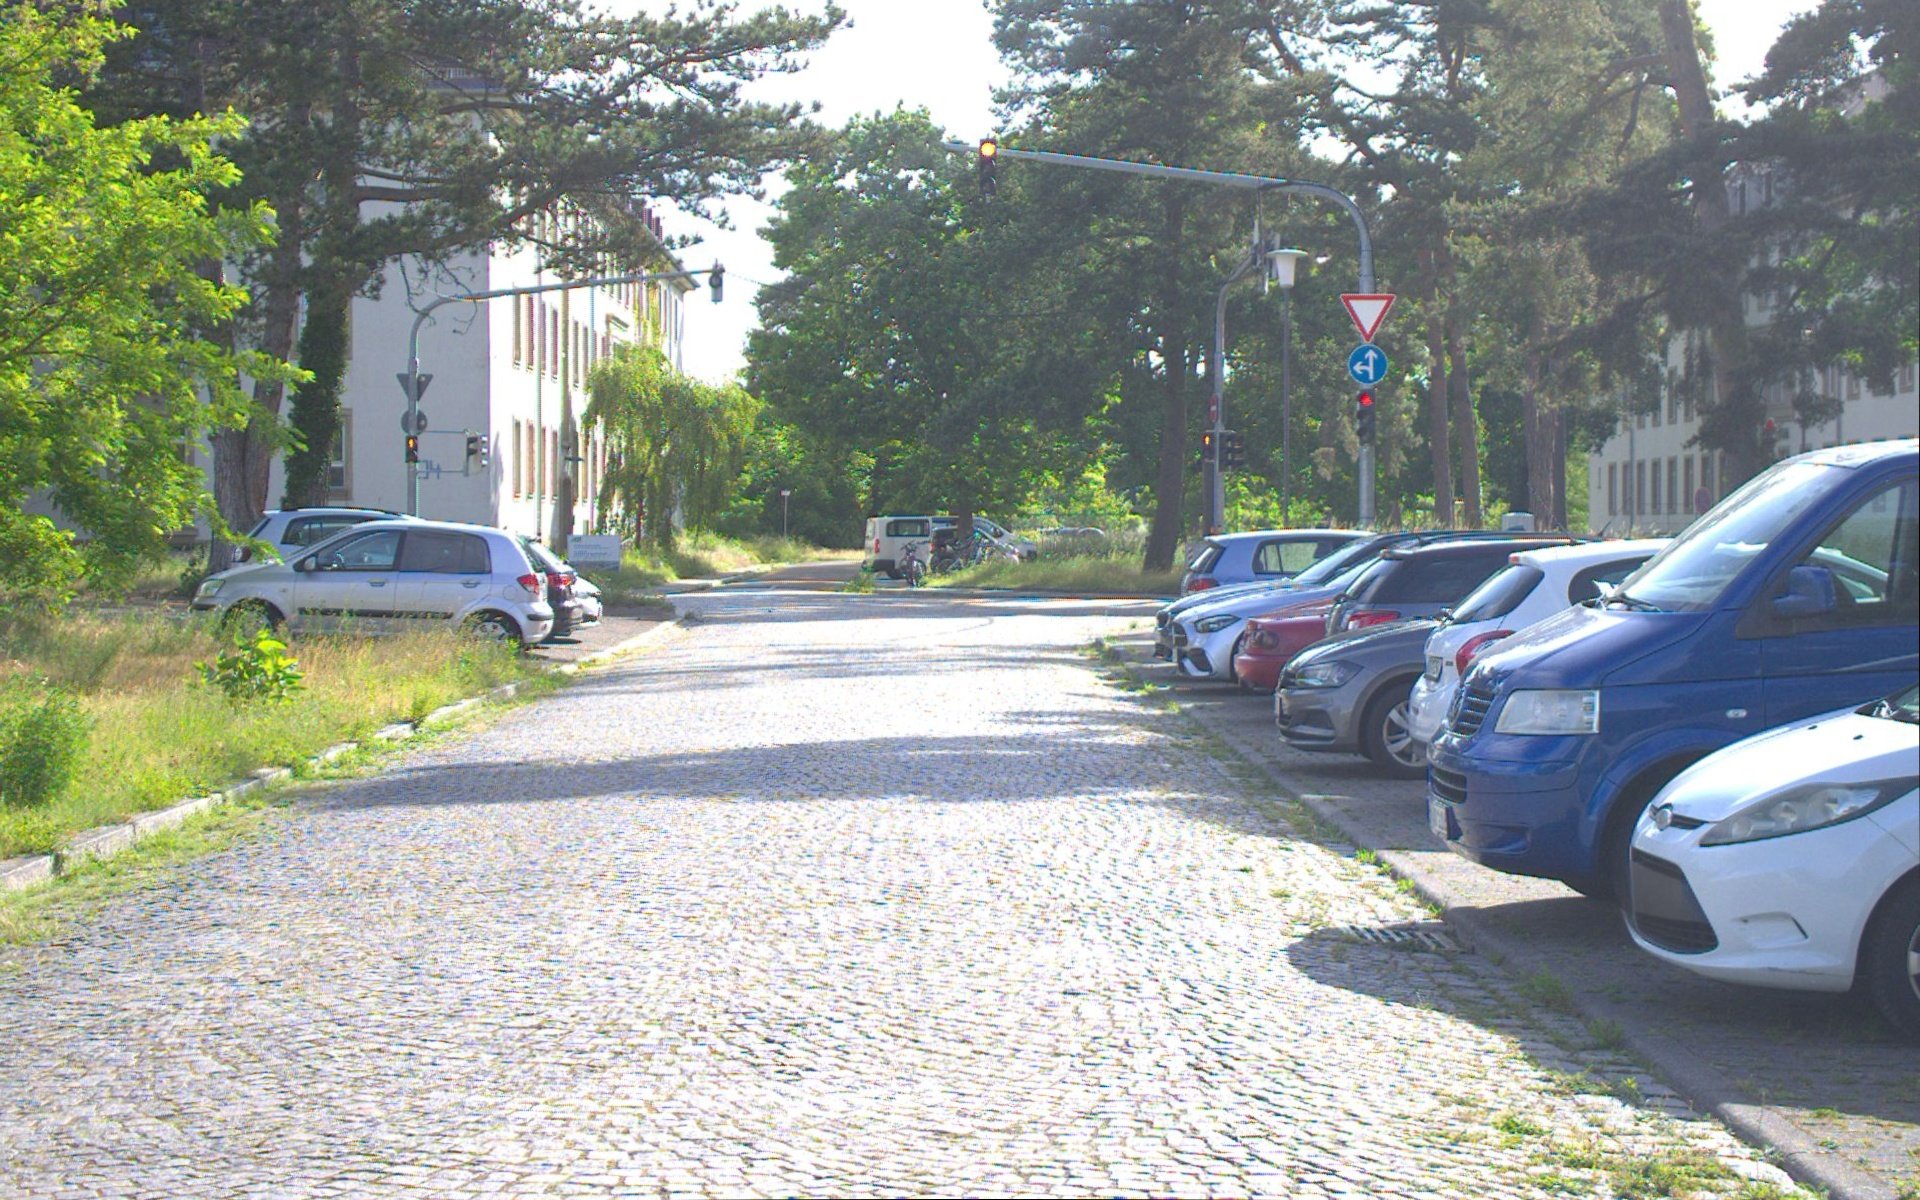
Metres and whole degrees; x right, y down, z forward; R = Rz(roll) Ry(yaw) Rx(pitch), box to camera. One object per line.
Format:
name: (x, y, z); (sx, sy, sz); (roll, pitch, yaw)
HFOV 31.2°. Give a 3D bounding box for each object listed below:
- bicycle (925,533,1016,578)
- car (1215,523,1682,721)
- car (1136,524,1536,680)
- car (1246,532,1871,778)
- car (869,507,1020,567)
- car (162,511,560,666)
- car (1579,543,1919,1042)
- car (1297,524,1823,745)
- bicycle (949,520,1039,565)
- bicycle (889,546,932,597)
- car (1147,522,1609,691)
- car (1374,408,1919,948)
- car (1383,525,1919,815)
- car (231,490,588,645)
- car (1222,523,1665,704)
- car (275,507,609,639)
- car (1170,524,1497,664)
bicycle: (0.254, -1.128, 86.537); (2.172, 1.096, 0.807); (1, 1, -10)
car: (3.870, 0.156, 27.613); (3.478, 1.524, 1.646); (0, 1, -2)
car: (3.774, 0.003, 34.923); (3.835, 1.524, 1.646); (0, 1, -2)
car: (3.759, 0.323, 22.003); (3.675, 1.462, 1.646); (-1, 1, -2)
car: (-0.482, -1.922, 103.995); (4.480, 1.722, 2.000); (1, 1, -1)
car: (-6.342, -0.140, 36.746); (3.986, 1.595, 2.000); (0, 1, -3)
car: (4.058, 0.557, 11.262); (3.718, 1.483, 1.646); (0, 1, -3)
car: (4.288, 0.225, 24.923); (3.478, 1.524, 1.646); (0, 1, -2)
bicycle: (0.868, -1.468, 87.731); (2.172, 1.096, 0.807); (1, 1, -10)
bicycle: (-1.205, -0.692, 83.078); (0.804, 1.165, 2.181); (-1, 2, -7)
car: (3.864, 0.048, 32.151); (4.033, 1.524, 1.646); (0, 1, -4)
car: (4.191, 0.271, 13.936); (4.676, 2.007, 2.084); (0, 1, -3)
car: (4.317, 0.347, 19.117); (3.694, 1.460, 1.645); (-1, 1, 0)
car: (-6.695, -0.413, 42.130); (3.987, 1.596, 2.000); (4, 1, -1)
car: (4.179, 0.099, 30.074); (3.602, 1.524, 1.646); (0, 1, -2)
car: (-6.658, -0.369, 44.533); (3.987, 1.448, 2.000); (3, 1, -1)
car: (4.042, -0.081, 37.563); (3.343, 1.477, 1.646); (0, 1, -2)
